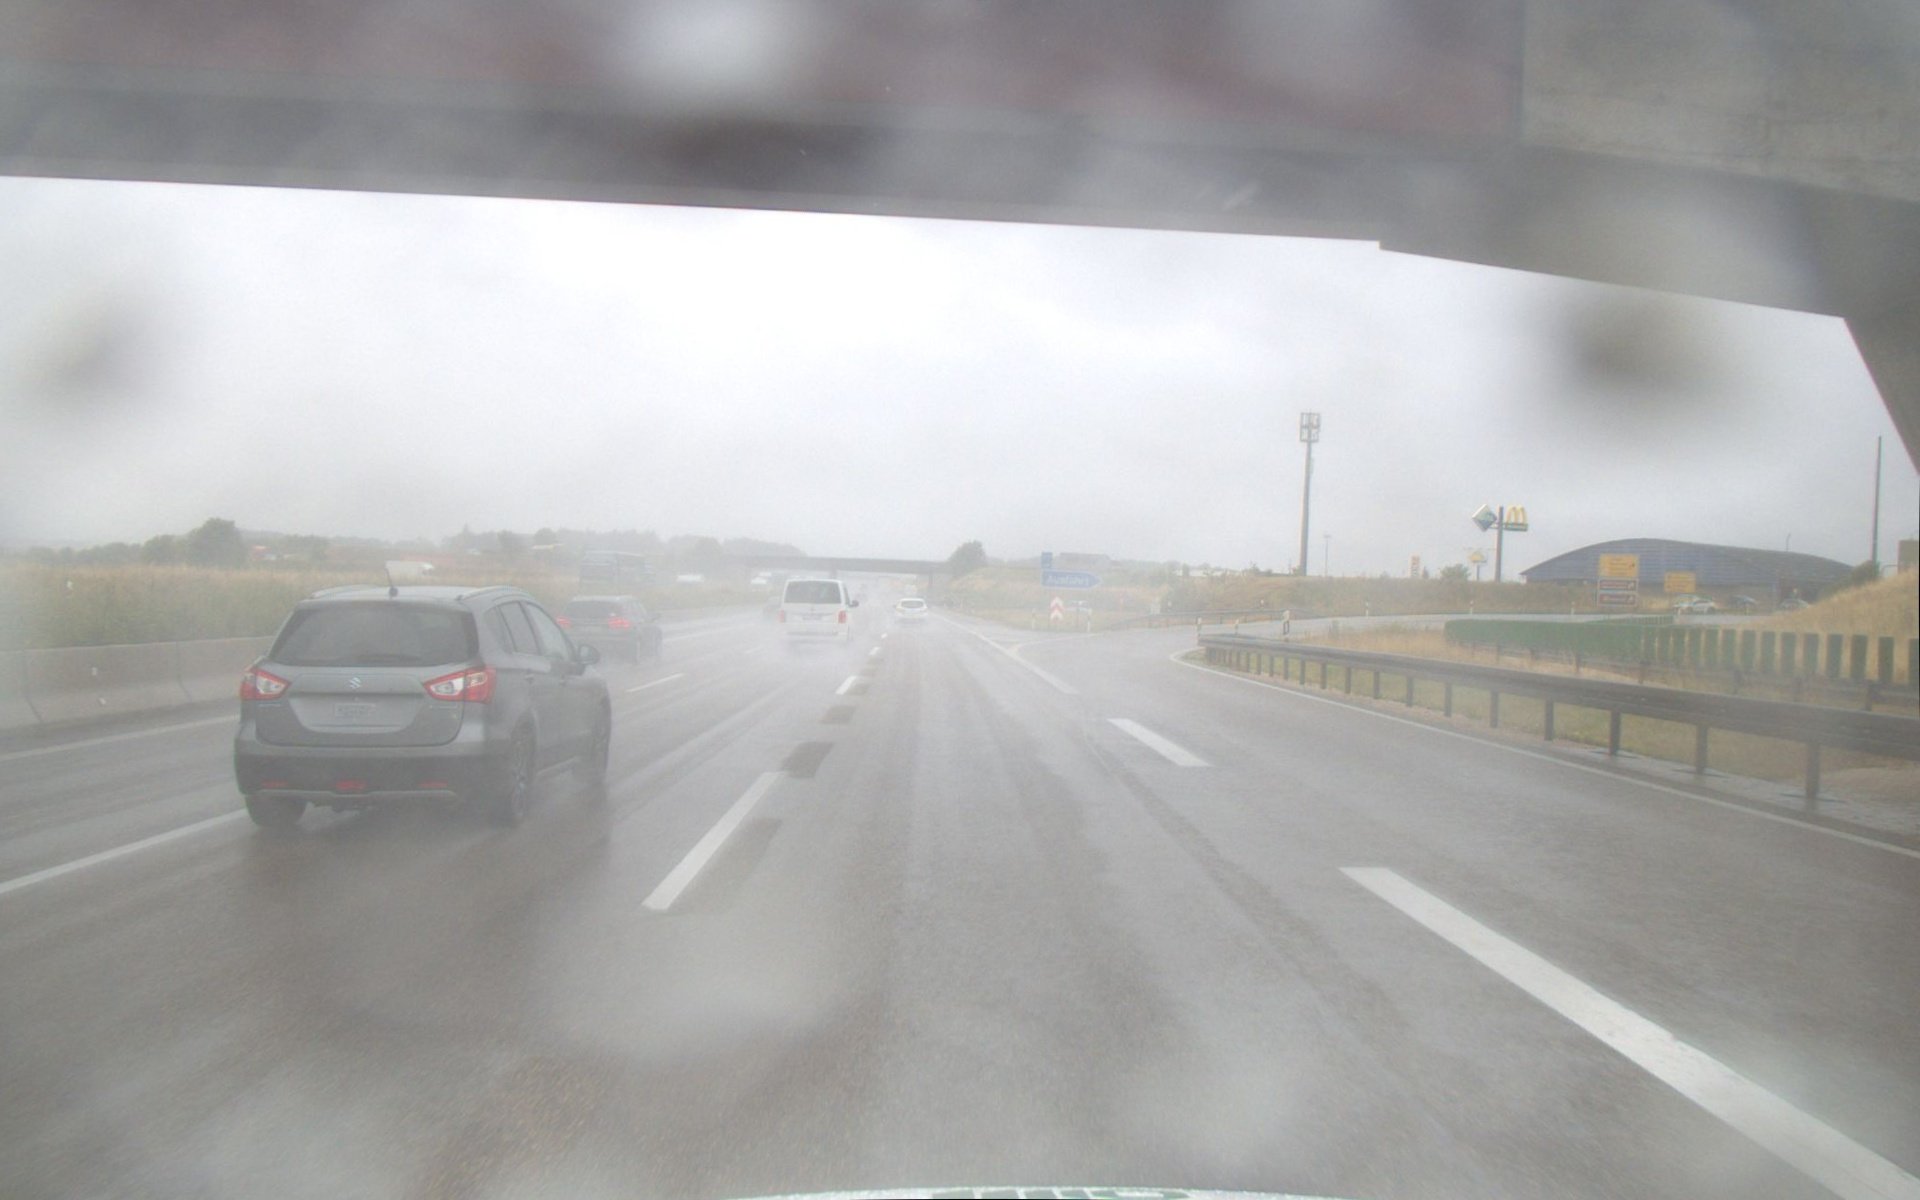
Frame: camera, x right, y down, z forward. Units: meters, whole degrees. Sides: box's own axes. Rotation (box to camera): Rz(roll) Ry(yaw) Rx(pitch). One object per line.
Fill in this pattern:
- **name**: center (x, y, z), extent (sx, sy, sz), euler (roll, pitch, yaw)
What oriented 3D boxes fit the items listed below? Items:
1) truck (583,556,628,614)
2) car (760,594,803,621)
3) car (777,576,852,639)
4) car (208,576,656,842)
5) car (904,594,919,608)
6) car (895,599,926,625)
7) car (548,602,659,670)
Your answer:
- **truck**: center (-25.496, -1.050, 119.062), extent (2.169, 4.053, 5.183), euler (1, 0, -2)
- **car**: center (-8.810, 0.374, 81.941), extent (1.437, 1.279, 3.342), euler (1, 0, 6)
- **car**: center (-3.924, 0.210, 45.198), extent (1.859, 1.613, 3.997), euler (1, 0, -3)
- **car**: center (-3.542, 0.644, 12.121), extent (1.809, 1.539, 4.755), euler (1, 0, -1)
- **car**: center (-7.664, 0.122, 261.419), extent (1.955, 2.138, 3.995), euler (1, 0, -6)
- **car**: center (-2.470, 0.596, 83.609), extent (1.437, 1.229, 2.991), euler (1, 0, 1)
- **car**: center (-7.718, 0.740, 36.098), extent (1.580, 1.378, 3.999), euler (1, 0, -1)
